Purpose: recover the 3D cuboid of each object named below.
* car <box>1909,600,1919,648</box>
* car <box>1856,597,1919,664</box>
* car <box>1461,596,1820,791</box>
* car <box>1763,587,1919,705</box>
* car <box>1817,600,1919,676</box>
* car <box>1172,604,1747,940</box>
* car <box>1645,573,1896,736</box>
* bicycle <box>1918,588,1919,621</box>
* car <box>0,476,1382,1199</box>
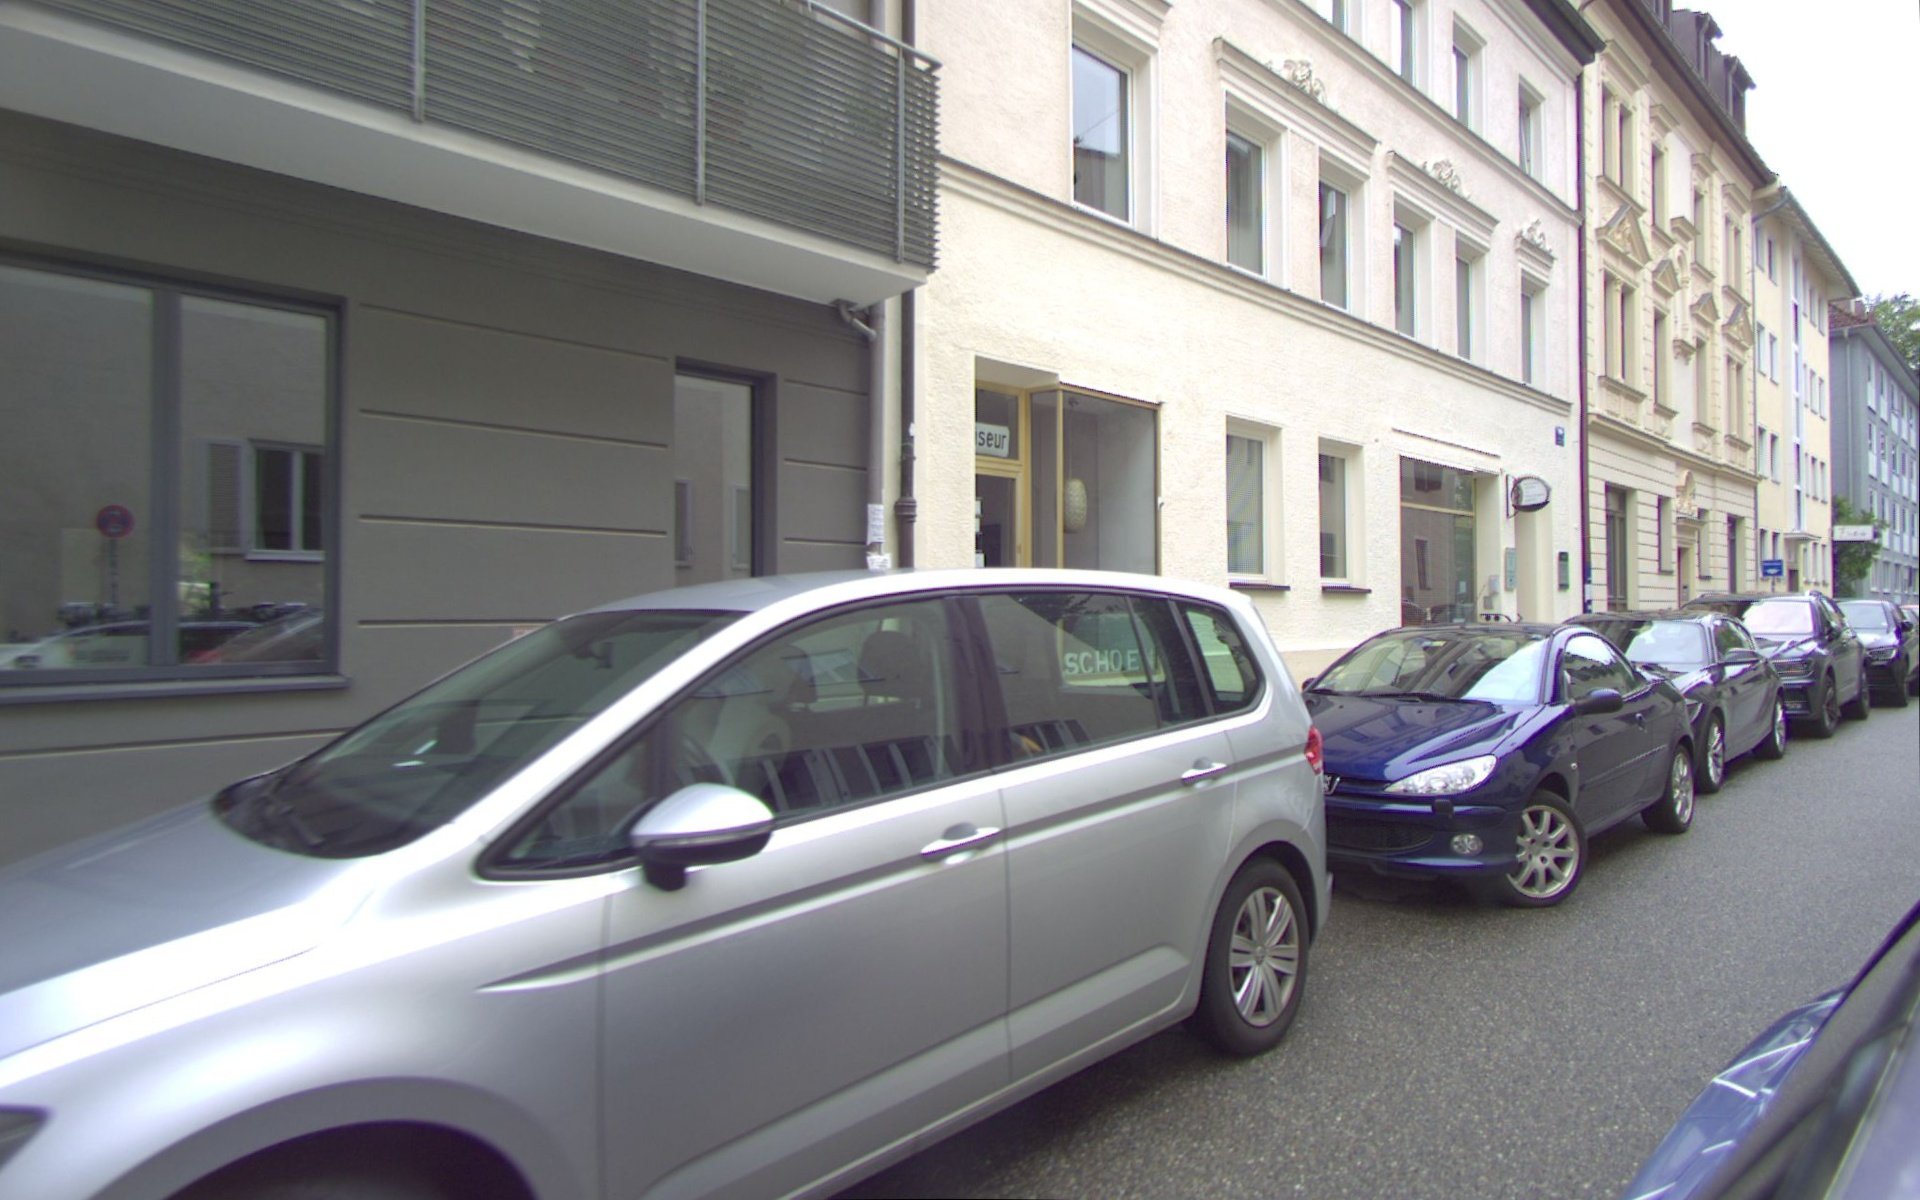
[{"bbox_3d":[29.748,0.634,30.040,4.431,1.352,1.827,0,-4,-42],"label":"car"},{"bbox_3d":[22.789,0.687,24.126,3.786,1.511,1.678,0,-1,-41],"label":"car"},{"bbox_3d":[6.481,0.669,9.443,4.274,1.403,1.802,0,0,-42],"label":"car"},{"bbox_3d":[14.360,0.638,16.093,4.603,1.627,1.704,0,-1,-41],"label":"car"},{"bbox_3d":[18.843,0.710,20.515,3.995,1.411,1.678,0,-1,-41],"label":"car"},{"bbox_3d":[3.234,0.732,6.224,3.876,1.380,1.811,0,0,-41],"label":"car"},{"bbox_3d":[10.184,0.573,12.591,4.434,1.682,1.678,0,-1,-41],"label":"car"},{"bbox_3d":[44.380,0.205,46.339,2.239,1.505,0.515,0,-1,-41],"label":"bicycle"},{"bbox_3d":[-0.581,0.621,3.094,4.243,1.590,1.878,0,1,-43],"label":"car"}]
